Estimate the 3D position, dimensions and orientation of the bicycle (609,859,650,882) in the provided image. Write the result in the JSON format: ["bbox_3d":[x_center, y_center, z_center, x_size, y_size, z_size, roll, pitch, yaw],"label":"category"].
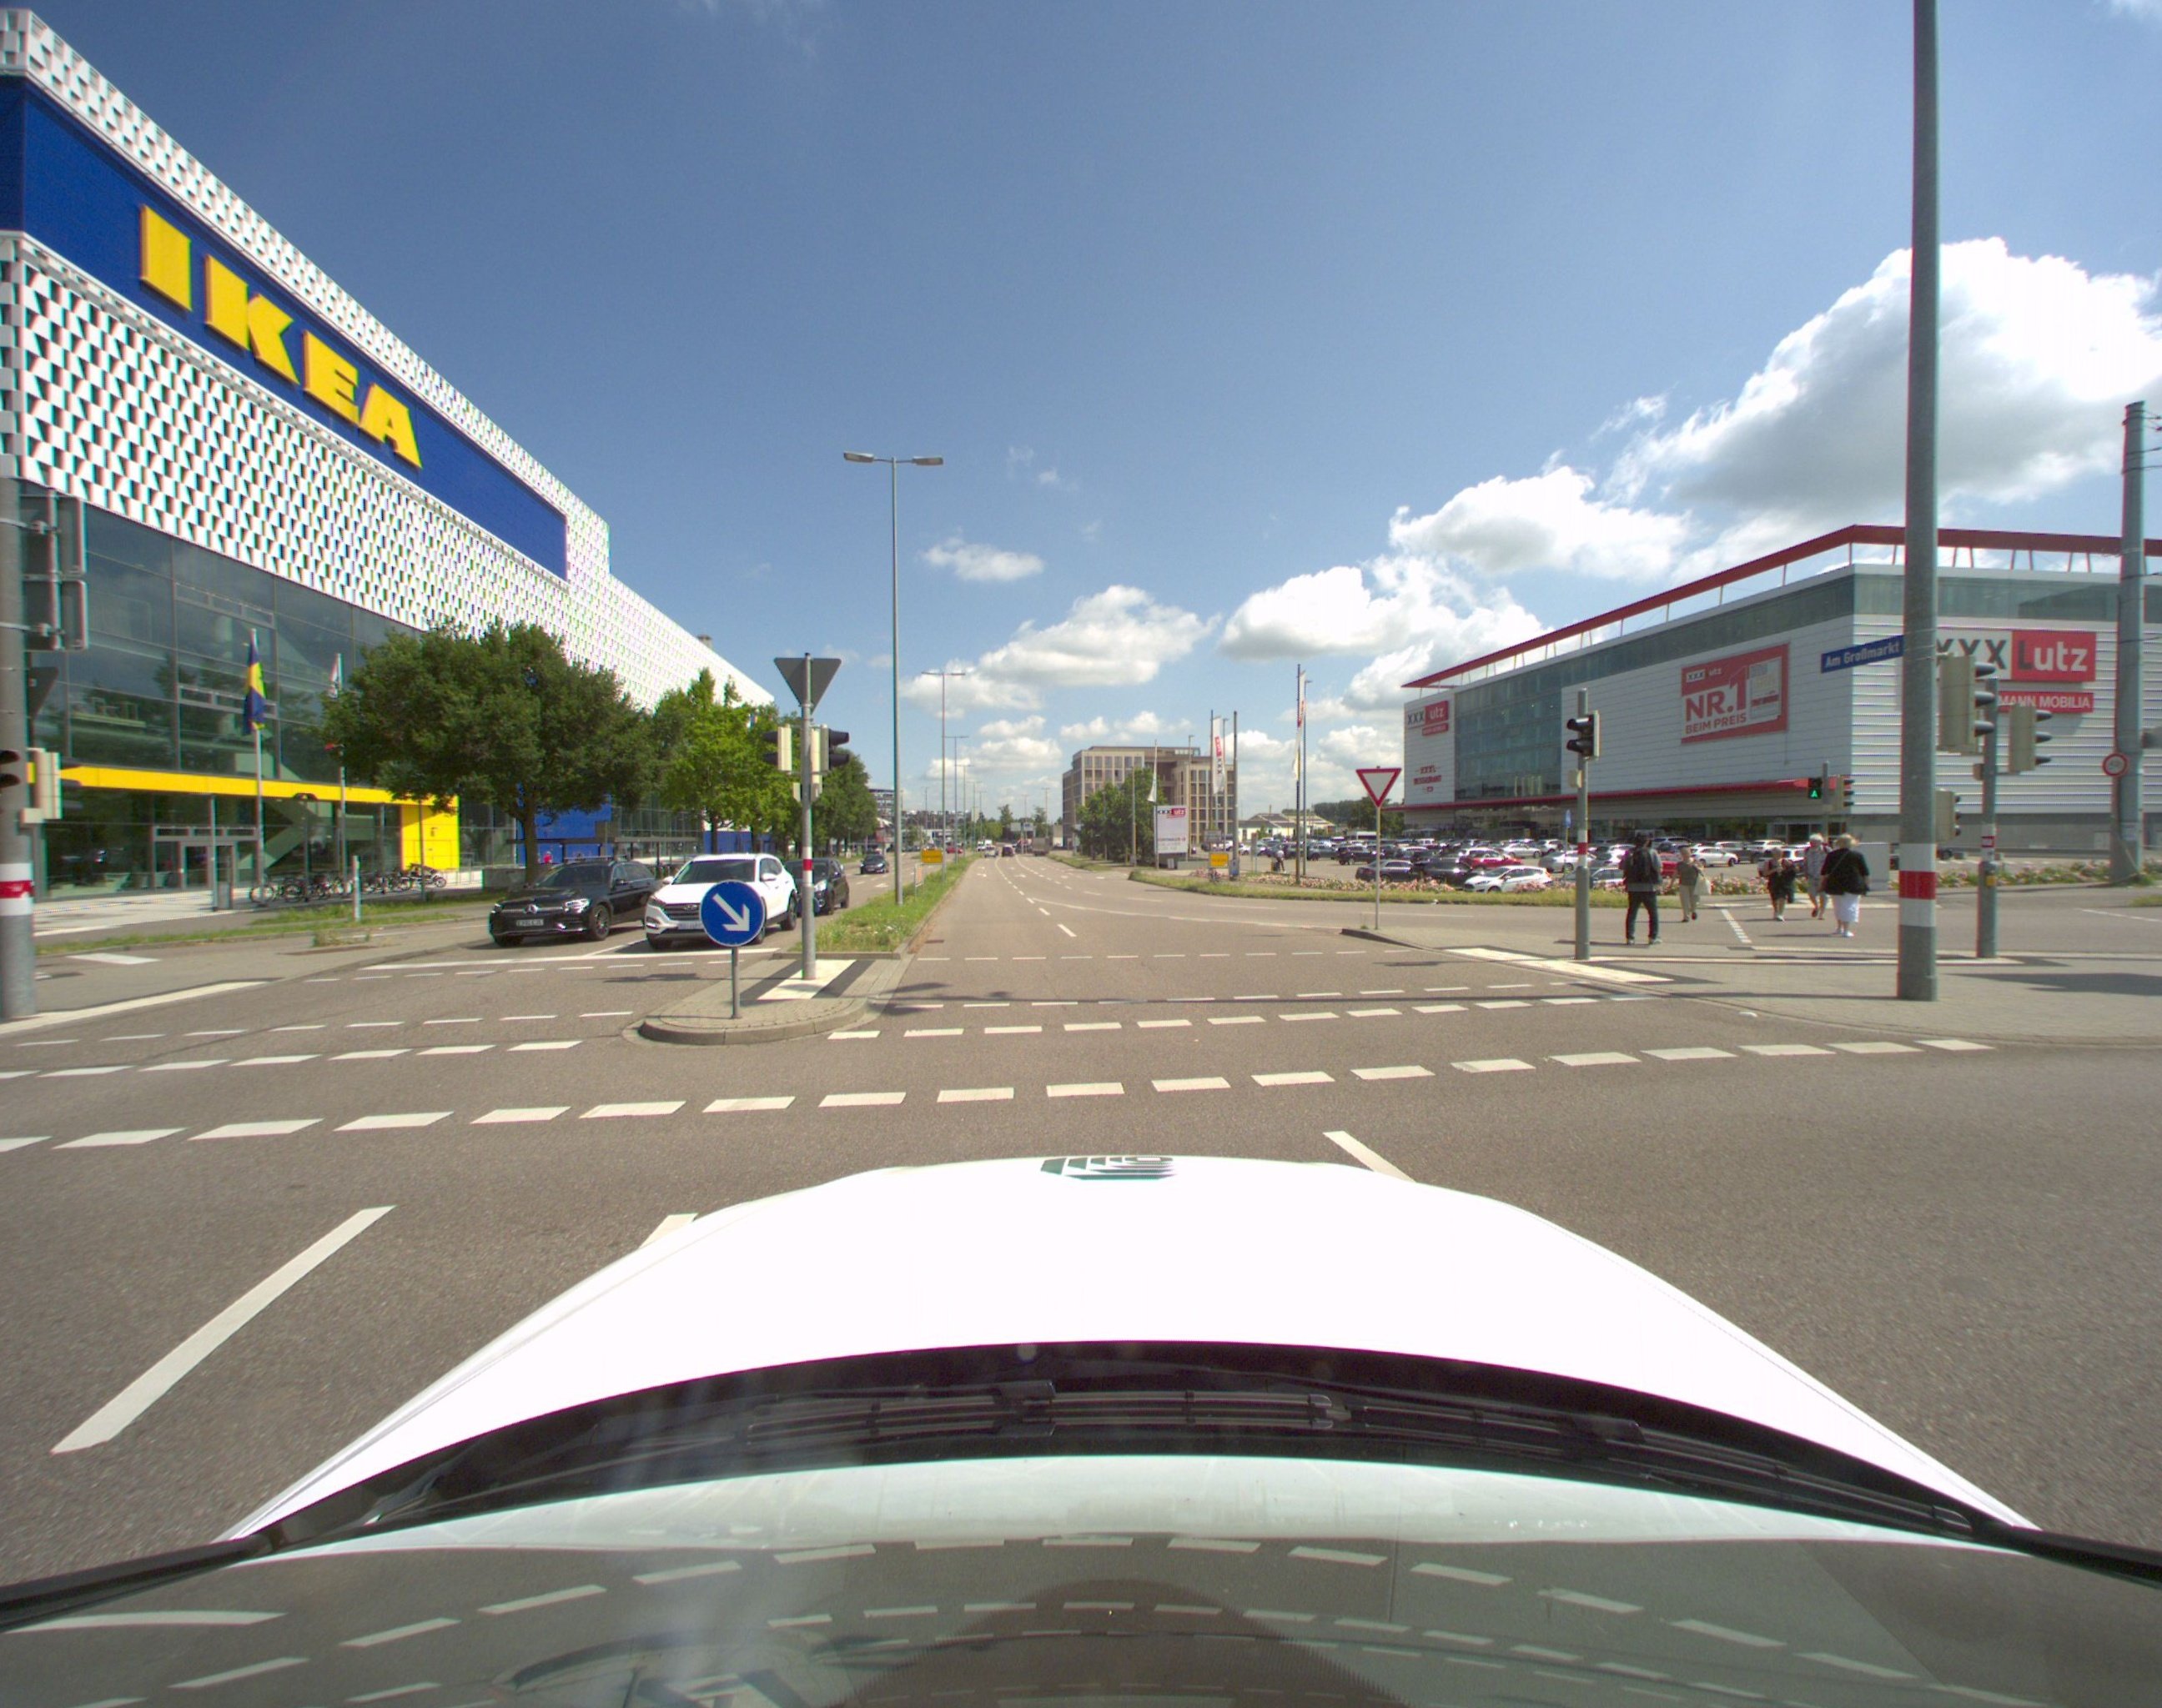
[{"bbox_3d":[-25.982,0.946,46.885,1.923,1.272,0.628,0,1,-8],"label":"bicycle"}]

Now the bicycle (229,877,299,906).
[{"bbox_3d":[-31.757,1.443,31.661,1.935,1.070,0.527,0,0,-12],"label":"bicycle"}]

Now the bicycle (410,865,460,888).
[{"bbox_3d":[-33.597,1.177,42.374,1.932,1.130,0.561,-1,0,-12],"label":"bicycle"}]

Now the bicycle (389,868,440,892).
[{"bbox_3d":[-33.360,1.280,40.777,1.932,1.130,0.561,-1,0,-12],"label":"bicycle"}]

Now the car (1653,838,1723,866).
[{"bbox_3d":[46.013,-0.139,61.785,3.983,2.014,1.995,0,0,-7],"label":"car"}]

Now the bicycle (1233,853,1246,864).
[{"bbox_3d":[15.394,0.440,79.125,0.622,1.067,1.963,-1,1,-6],"label":"bicycle"}]

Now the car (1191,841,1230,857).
[{"bbox_3d":[20.037,-0.735,126.008,5.657,2.366,2.055,0,0,-9],"label":"car"}]

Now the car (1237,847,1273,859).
[{"bbox_3d":[22.676,-0.090,105.944,4.184,1.389,1.886,-2,1,-11],"label":"car"}]

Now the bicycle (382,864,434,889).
[{"bbox_3d":[-33.216,1.105,40.220,1.935,1.209,0.527,0,0,-12],"label":"bicycle"}]

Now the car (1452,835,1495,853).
[{"bbox_3d":[44.099,-1.120,91.567,3.984,2.013,1.995,0,1,-8],"label":"car"}]

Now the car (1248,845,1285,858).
[{"bbox_3d":[23.016,-0.330,100.993,3.986,1.571,1.993,0,0,-10],"label":"car"}]

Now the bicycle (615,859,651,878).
[{"bbox_3d":[-28.848,0.913,52.438,1.923,1.183,0.628,0,1,-8],"label":"bicycle"}]

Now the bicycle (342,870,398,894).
[{"bbox_3d":[-32.794,1.291,37.595,1.930,1.089,0.518,0,1,-12],"label":"bicycle"}]

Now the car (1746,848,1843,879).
[{"bbox_3d":[39.538,0.490,45.147,4.226,1.587,1.847,-1,1,-11],"label":"car"}]

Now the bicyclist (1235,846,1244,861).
[{"bbox_3d":[15.387,-0.018,79.073,0.614,1.412,0.713,0,1,-7],"label":"bicyclist"}]

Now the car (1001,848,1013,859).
[{"bbox_3d":[-13.283,-0.079,145.867,1.815,1.808,3.997,1,0,-2],"label":"car"}]

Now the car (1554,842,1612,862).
[{"bbox_3d":[41.869,-0.164,67.983,4.013,1.587,1.690,0,2,-9],"label":"car"}]

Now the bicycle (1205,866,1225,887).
[{"bbox_3d":[6.220,1.035,37.880,0.516,0.952,1.540,0,0,-7],"label":"bicycle"}]

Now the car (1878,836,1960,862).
[{"bbox_3d":[59.082,-0.374,57.444,3.981,1.738,1.997,0,1,-6],"label":"car"}]

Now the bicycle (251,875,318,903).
[{"bbox_3d":[-32.253,1.418,32.994,1.935,1.070,0.527,0,0,-12],"label":"bicycle"}]

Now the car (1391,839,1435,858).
[{"bbox_3d":[36.497,-0.574,89.550,3.983,2.013,1.995,0,1,-7],"label":"car"}]

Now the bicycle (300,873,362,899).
[{"bbox_3d":[-32.155,1.371,34.935,1.935,1.070,0.527,0,0,-12],"label":"bicycle"}]

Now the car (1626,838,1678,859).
[{"bbox_3d":[55.995,-0.578,79.883,3.985,2.013,1.994,0,1,-9],"label":"car"}]

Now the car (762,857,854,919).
[{"bbox_3d":[-7.418,0.858,22.521,1.602,1.493,4.121,-2,0,-8],"label":"car"}]

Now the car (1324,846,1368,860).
[{"bbox_3d":[29.003,-0.107,89.038,4.237,1.464,1.755,0,1,-9],"label":"car"}]

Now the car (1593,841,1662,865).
[{"bbox_3d":[40.913,-0.104,61.038,3.981,1.739,1.996,0,0,-6],"label":"car"}]

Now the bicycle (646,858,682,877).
[{"bbox_3d":[-26.499,0.876,51.729,1.923,1.183,0.628,0,1,-8],"label":"bicycle"}]

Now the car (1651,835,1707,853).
[{"bbox_3d":[56.533,-0.942,77.020,3.985,1.723,1.994,0,1,-9],"label":"car"}]

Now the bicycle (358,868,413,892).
[{"bbox_3d":[-33.015,1.228,38.687,1.935,1.070,0.527,0,0,-12],"label":"bicycle"}]

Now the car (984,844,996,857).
[{"bbox_3d":[-14.963,-0.546,133.969,1.854,2.018,3.991,1,1,-7],"label":"car"}]

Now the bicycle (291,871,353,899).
[{"bbox_3d":[-32.016,1.299,34.371,1.957,1.172,0.466,0,1,-12],"label":"bicycle"}]

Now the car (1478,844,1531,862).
[{"bbox_3d":[40.556,-0.100,77.980,4.224,1.587,1.848,-2,1,-9],"label":"car"}]

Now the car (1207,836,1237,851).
[{"bbox_3d":[20.900,-1.552,120.928,3.983,2.013,1.995,-2,1,-7],"label":"car"}]

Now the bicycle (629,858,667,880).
[{"bbox_3d":[-26.221,0.904,49.332,1.923,1.272,0.628,0,1,-8],"label":"bicycle"}]

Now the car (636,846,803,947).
[{"bbox_3d":[-6.779,0.730,15.790,1.706,1.619,4.367,-2,0,-7],"label":"car"}]

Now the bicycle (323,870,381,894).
[{"bbox_3d":[-32.589,1.241,36.426,1.935,1.070,0.527,0,0,-12],"label":"bicycle"}]
